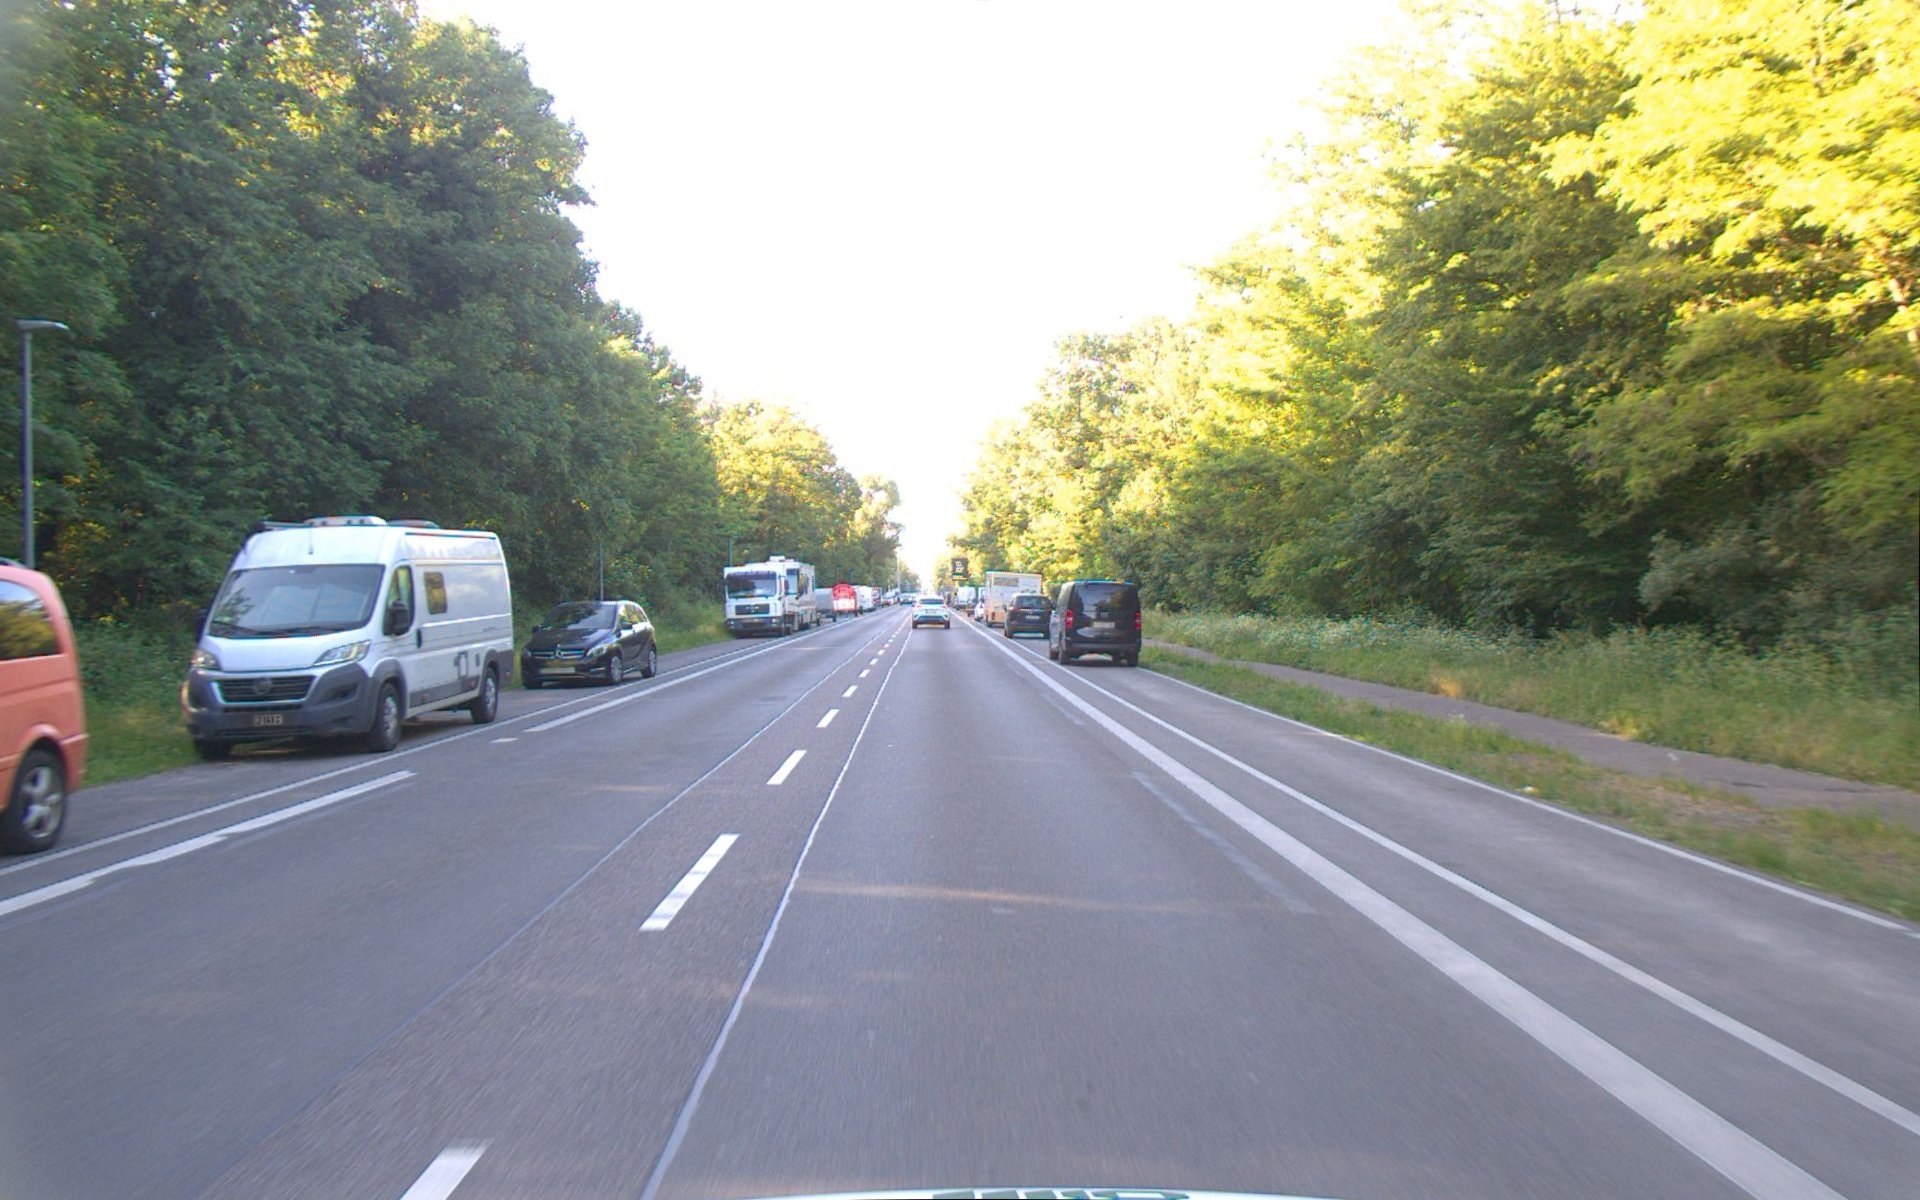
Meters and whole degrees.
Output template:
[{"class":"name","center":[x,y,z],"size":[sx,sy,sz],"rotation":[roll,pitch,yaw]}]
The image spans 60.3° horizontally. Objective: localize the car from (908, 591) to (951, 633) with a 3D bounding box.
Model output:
[{"class":"car","center":[-1.422,0.549,78.717],"size":[1.987,1.872,4.028],"rotation":[-1,1,-1]}]

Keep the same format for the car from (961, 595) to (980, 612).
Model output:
[{"class":"car","center":[0.940,0.308,151.797],"size":[1.622,1.504,3.753],"rotation":[0,0,-1]}]

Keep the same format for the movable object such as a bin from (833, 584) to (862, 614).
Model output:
[{"class":"movable object such as a bin","center":[-9.601,-0.110,141.930],"size":[2.275,2.545,3.999],"rotation":[0,0,-1]}]

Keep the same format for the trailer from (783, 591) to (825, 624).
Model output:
[{"class":"trailer","center":[-8.440,0.385,89.963],"size":[1.953,1.780,4.327],"rotation":[0,0,-1]}]

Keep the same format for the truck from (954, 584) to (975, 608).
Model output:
[{"class":"truck","center":[0.447,-0.438,175.455],"size":[2.054,2.495,5.679],"rotation":[0,0,-1]}]

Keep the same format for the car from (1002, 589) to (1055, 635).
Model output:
[{"class":"car","center":[2.577,0.437,62.613],"size":[1.803,1.691,4.000],"rotation":[0,0,-1]}]

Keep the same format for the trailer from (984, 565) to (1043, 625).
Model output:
[{"class":"trailer","center":[2.670,-0.271,84.663],"size":[2.701,2.920,6.587],"rotation":[0,0,-1]}]

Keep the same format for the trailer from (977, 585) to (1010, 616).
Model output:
[{"class":"trailer","center":[2.161,0.017,107.337],"size":[1.953,2.004,3.999],"rotation":[0,0,-1]}]

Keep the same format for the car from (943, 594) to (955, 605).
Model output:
[{"class":"car","center":[-1.559,-0.056,228.472],"size":[1.622,1.504,3.753],"rotation":[0,0,-1]}]

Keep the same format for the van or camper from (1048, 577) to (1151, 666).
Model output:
[{"class":"van or camper","center":[3.283,0.476,39.866],"size":[1.953,1.966,5.198],"rotation":[1,0,-1]}]

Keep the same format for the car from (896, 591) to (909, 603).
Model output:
[{"class":"car","center":[-8.718,-0.442,251.457],"size":[1.953,1.707,3.999],"rotation":[-2,0,-1]}]

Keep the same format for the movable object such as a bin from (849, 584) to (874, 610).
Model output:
[{"class":"movable object such as a bin","center":[-9.794,-0.315,164.574],"size":[2.275,2.545,3.999],"rotation":[0,0,-1]}]

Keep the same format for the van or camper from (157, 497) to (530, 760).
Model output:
[{"class":"van or camper","center":[-7.064,0.270,19.942],"size":[2.077,2.617,6.541],"rotation":[-1,0,-1]}]

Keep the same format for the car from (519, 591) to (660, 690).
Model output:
[{"class":"car","center":[-7.056,0.722,31.925],"size":[1.745,1.713,4.377],"rotation":[-2,0,-1]}]

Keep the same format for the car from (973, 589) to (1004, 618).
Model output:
[{"class":"car","center":[1.711,0.222,100.644],"size":[1.697,1.713,3.999],"rotation":[0,0,-1]}]

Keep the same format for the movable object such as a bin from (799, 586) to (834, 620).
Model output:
[{"class":"movable object such as a bin","center":[-8.969,0.168,103.410],"size":[1.914,2.049,3.999],"rotation":[0,0,-1]}]

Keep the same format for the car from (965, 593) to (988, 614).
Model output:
[{"class":"car","center":[1.184,0.274,120.635],"size":[1.622,1.504,3.753],"rotation":[0,0,-1]}]

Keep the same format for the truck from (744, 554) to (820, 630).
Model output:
[{"class":"truck","center":[-8.442,-0.374,79.688],"size":[2.652,3.406,10.921],"rotation":[0,0,-1]}]

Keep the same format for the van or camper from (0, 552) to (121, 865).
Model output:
[{"class":"van or camper","center":[-6.769,0.695,9.028],"size":[1.884,1.899,4.862],"rotation":[-2,0,-1]}]

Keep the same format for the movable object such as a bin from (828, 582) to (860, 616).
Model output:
[{"class":"movable object such as a bin","center":[-8.930,-0.097,127.733],"size":[2.275,2.545,3.999],"rotation":[0,0,-1]}]

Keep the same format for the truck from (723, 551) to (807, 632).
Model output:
[{"class":"truck","center":[-7.999,-0.360,68.646],"size":[2.652,3.147,7.987],"rotation":[0,0,-1]}]
